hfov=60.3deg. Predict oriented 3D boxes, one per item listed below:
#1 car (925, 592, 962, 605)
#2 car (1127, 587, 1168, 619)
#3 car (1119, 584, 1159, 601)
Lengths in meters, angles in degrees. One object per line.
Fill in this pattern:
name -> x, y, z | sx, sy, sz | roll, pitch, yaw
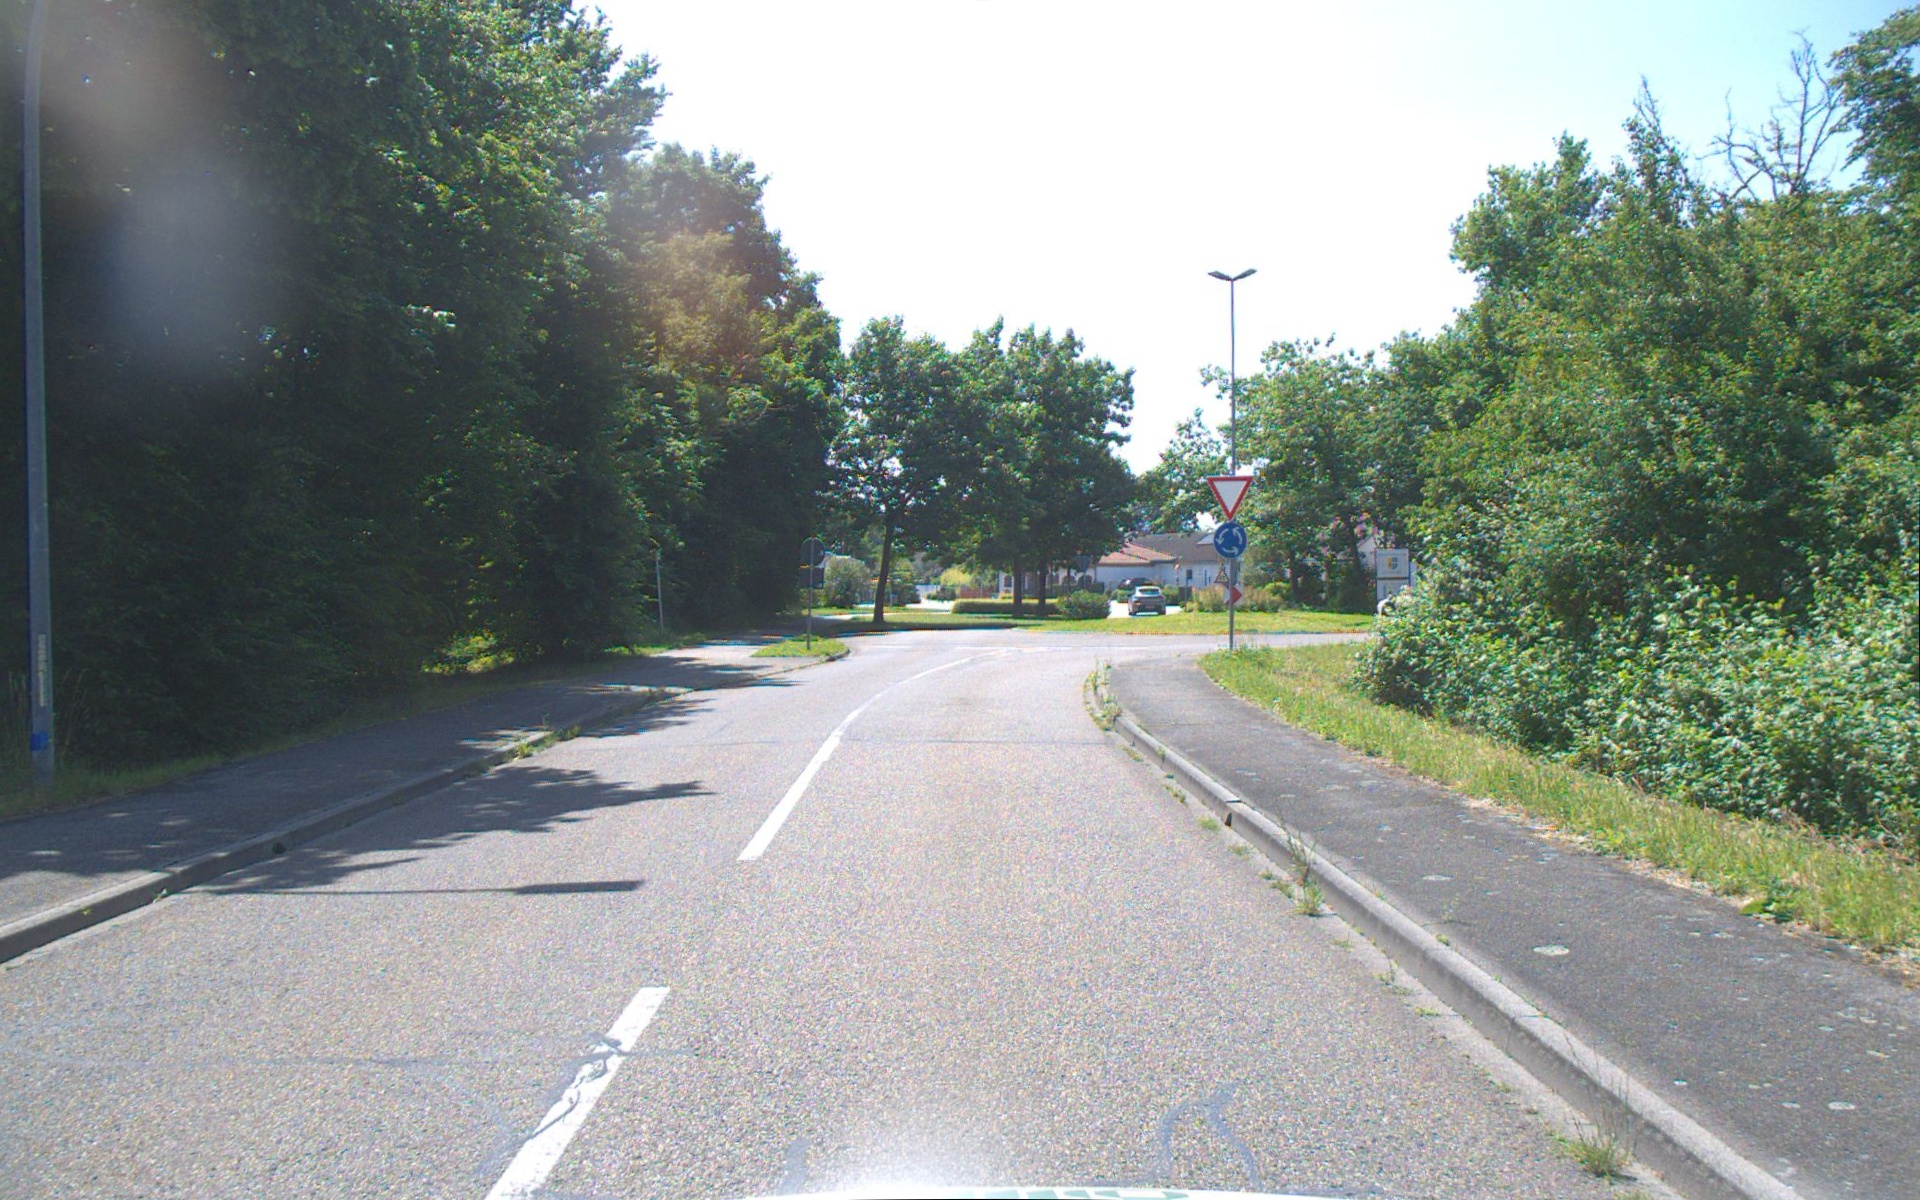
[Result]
car -> -1.660, -0.161, 165.267 | 1.972, 1.310, 3.961 | -1, 0, -29
car -> 9.367, 0.152, 82.958 | 1.595, 1.512, 4.000 | -1, 1, 0
car -> 17.121, -0.755, 158.137 | 3.806, 1.569, 1.825 | -1, 0, -43
